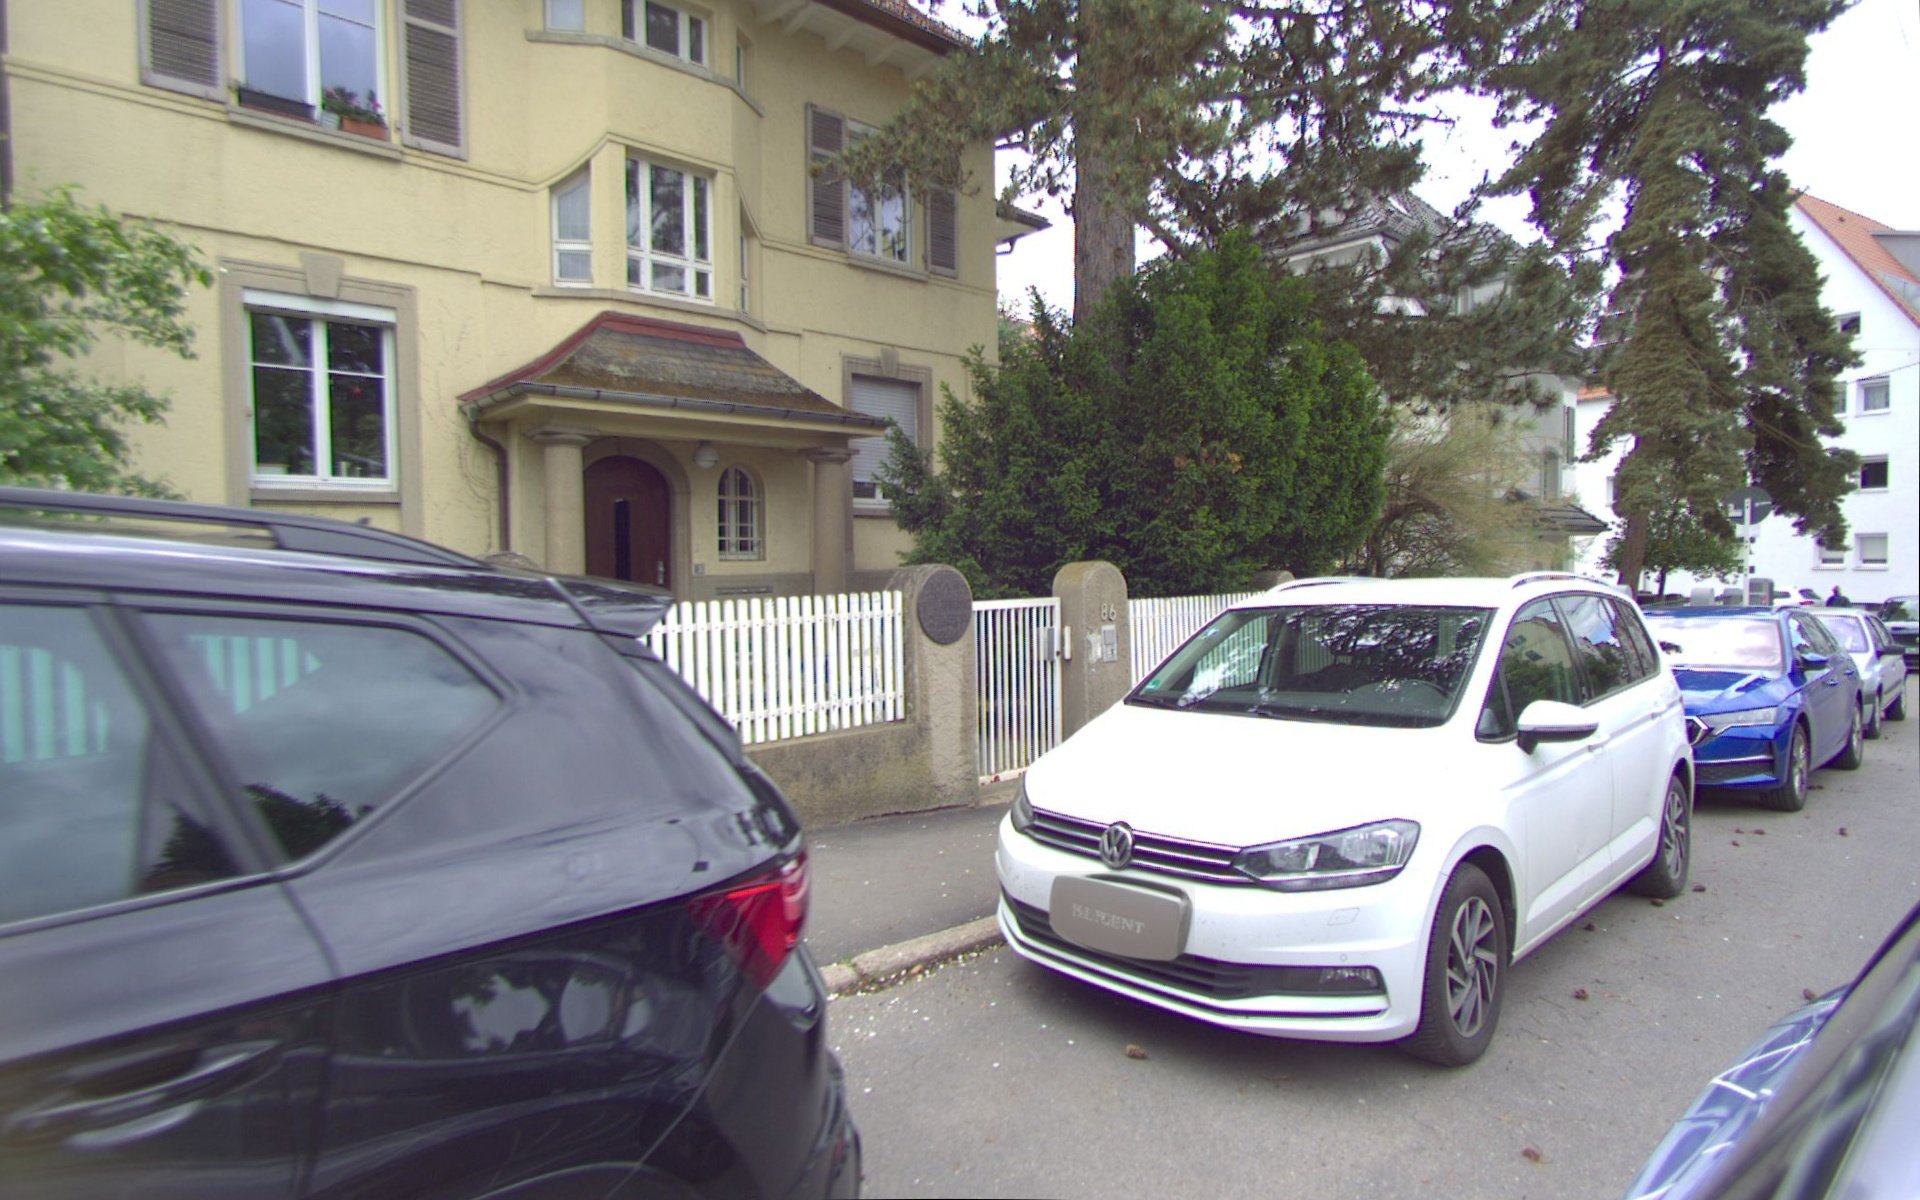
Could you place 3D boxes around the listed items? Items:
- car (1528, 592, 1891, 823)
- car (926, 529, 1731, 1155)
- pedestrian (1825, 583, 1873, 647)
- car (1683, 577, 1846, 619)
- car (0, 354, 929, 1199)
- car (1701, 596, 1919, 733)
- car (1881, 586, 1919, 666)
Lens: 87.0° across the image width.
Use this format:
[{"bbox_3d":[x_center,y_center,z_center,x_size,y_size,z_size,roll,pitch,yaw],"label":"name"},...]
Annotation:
[{"bbox_3d":[6.465,0.697,8.563,3.981,1.477,1.650,-1,0,-41],"label":"car"},{"bbox_3d":[2.025,0.633,4.739,4.231,1.624,1.787,0,-1,-43],"label":"car"},{"bbox_3d":[23.347,0.374,26.585,0.889,1.595,0.683,-2,4,-35],"label":"pedestrian"},{"bbox_3d":[29.507,-0.090,37.277,1.728,1.468,4.365,-1,1,-28],"label":"car"},{"bbox_3d":[-2.116,0.635,0.808,4.005,1.628,1.752,-1,-1,-42],"label":"car"},{"bbox_3d":[10.437,0.670,12.277,3.591,1.418,1.576,0,-1,-41],"label":"car"},{"bbox_3d":[19.830,0.494,20.461,2.820,1.551,1.572,0,-2,-44],"label":"car"}]
